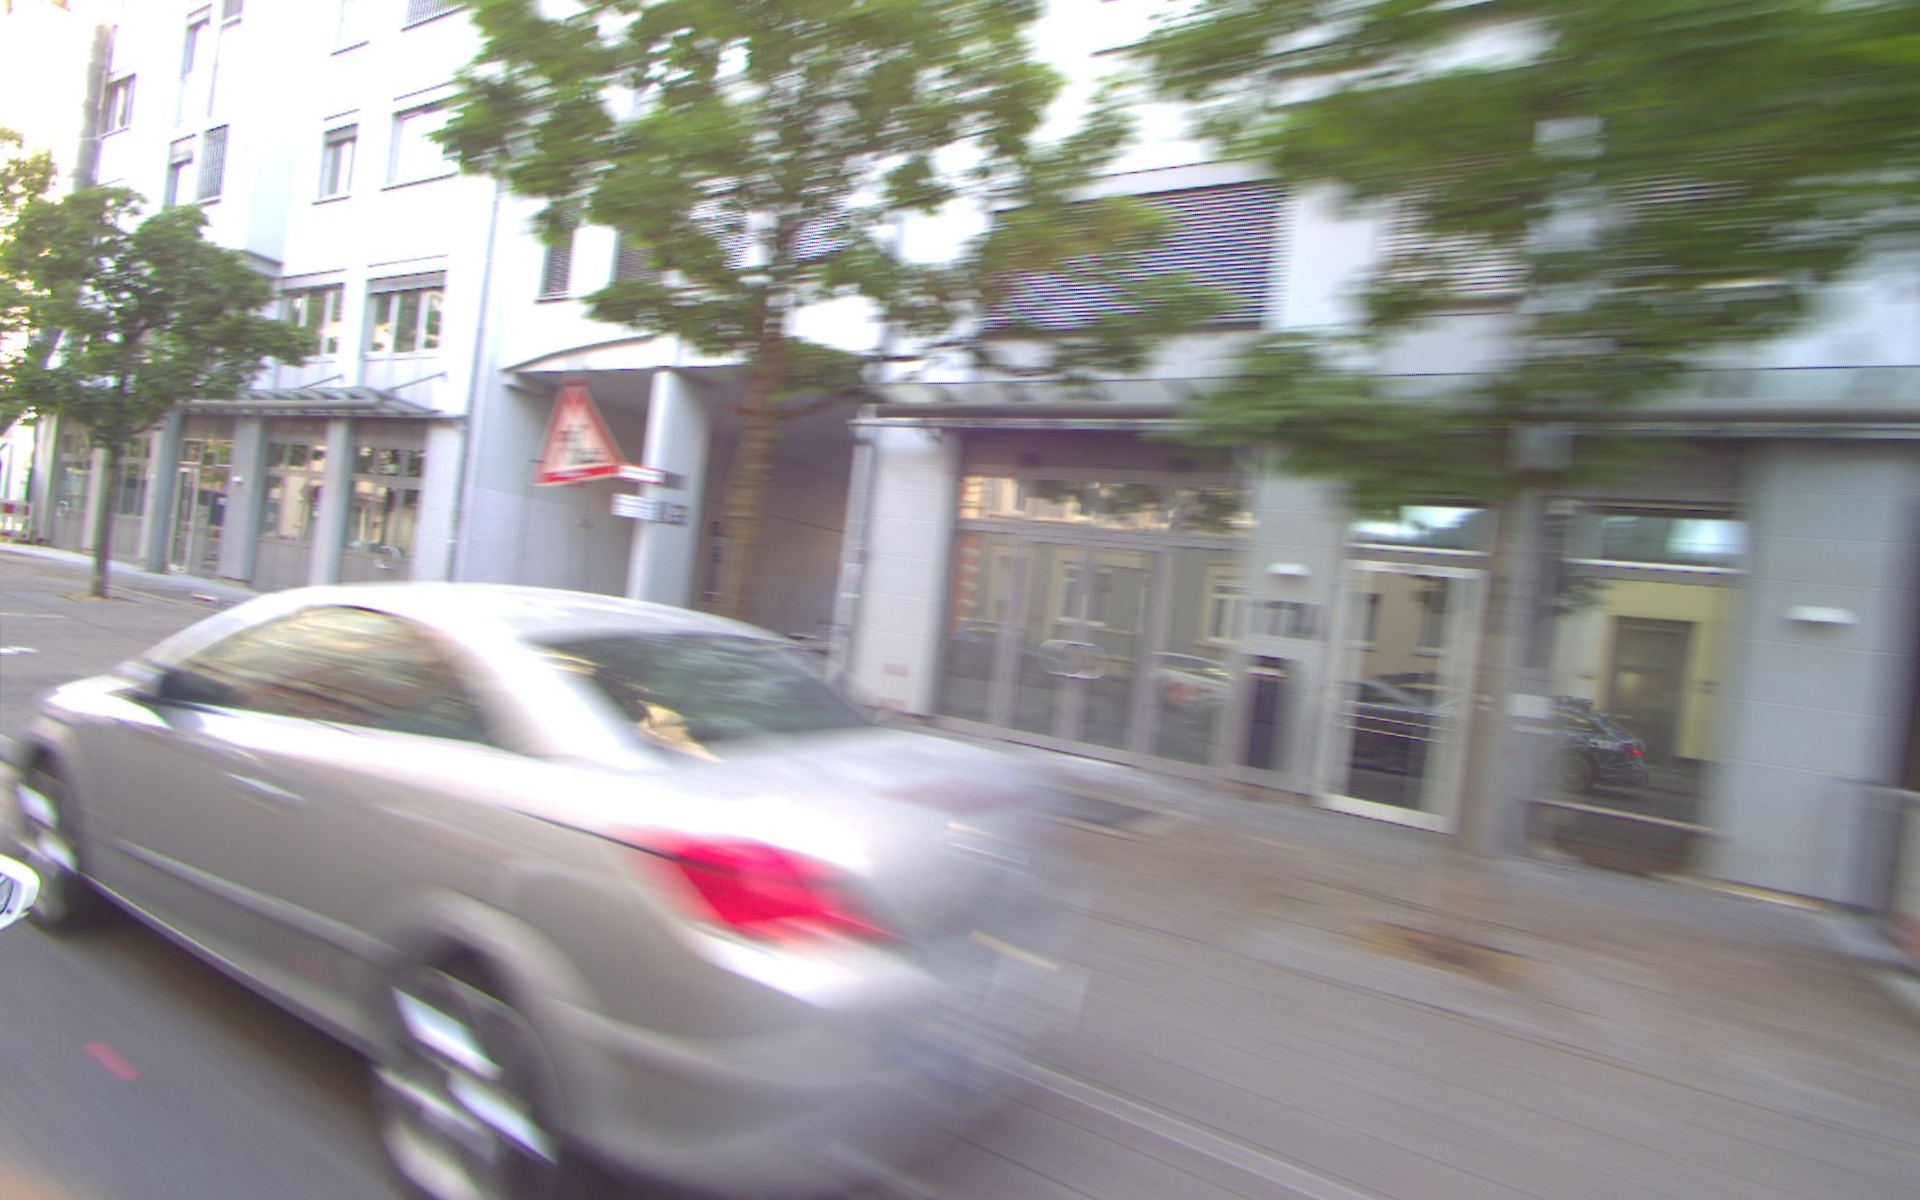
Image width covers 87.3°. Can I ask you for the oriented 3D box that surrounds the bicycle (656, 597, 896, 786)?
[{"bbox_3d":[-1.434,0.667,7.797,1.708,1.183,0.521,7,2,21],"label":"bicycle"}]

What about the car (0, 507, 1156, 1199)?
[{"bbox_3d":[-1.708,0.609,3.593,4.273,1.447,1.765,7,1,32],"label":"car"}]
